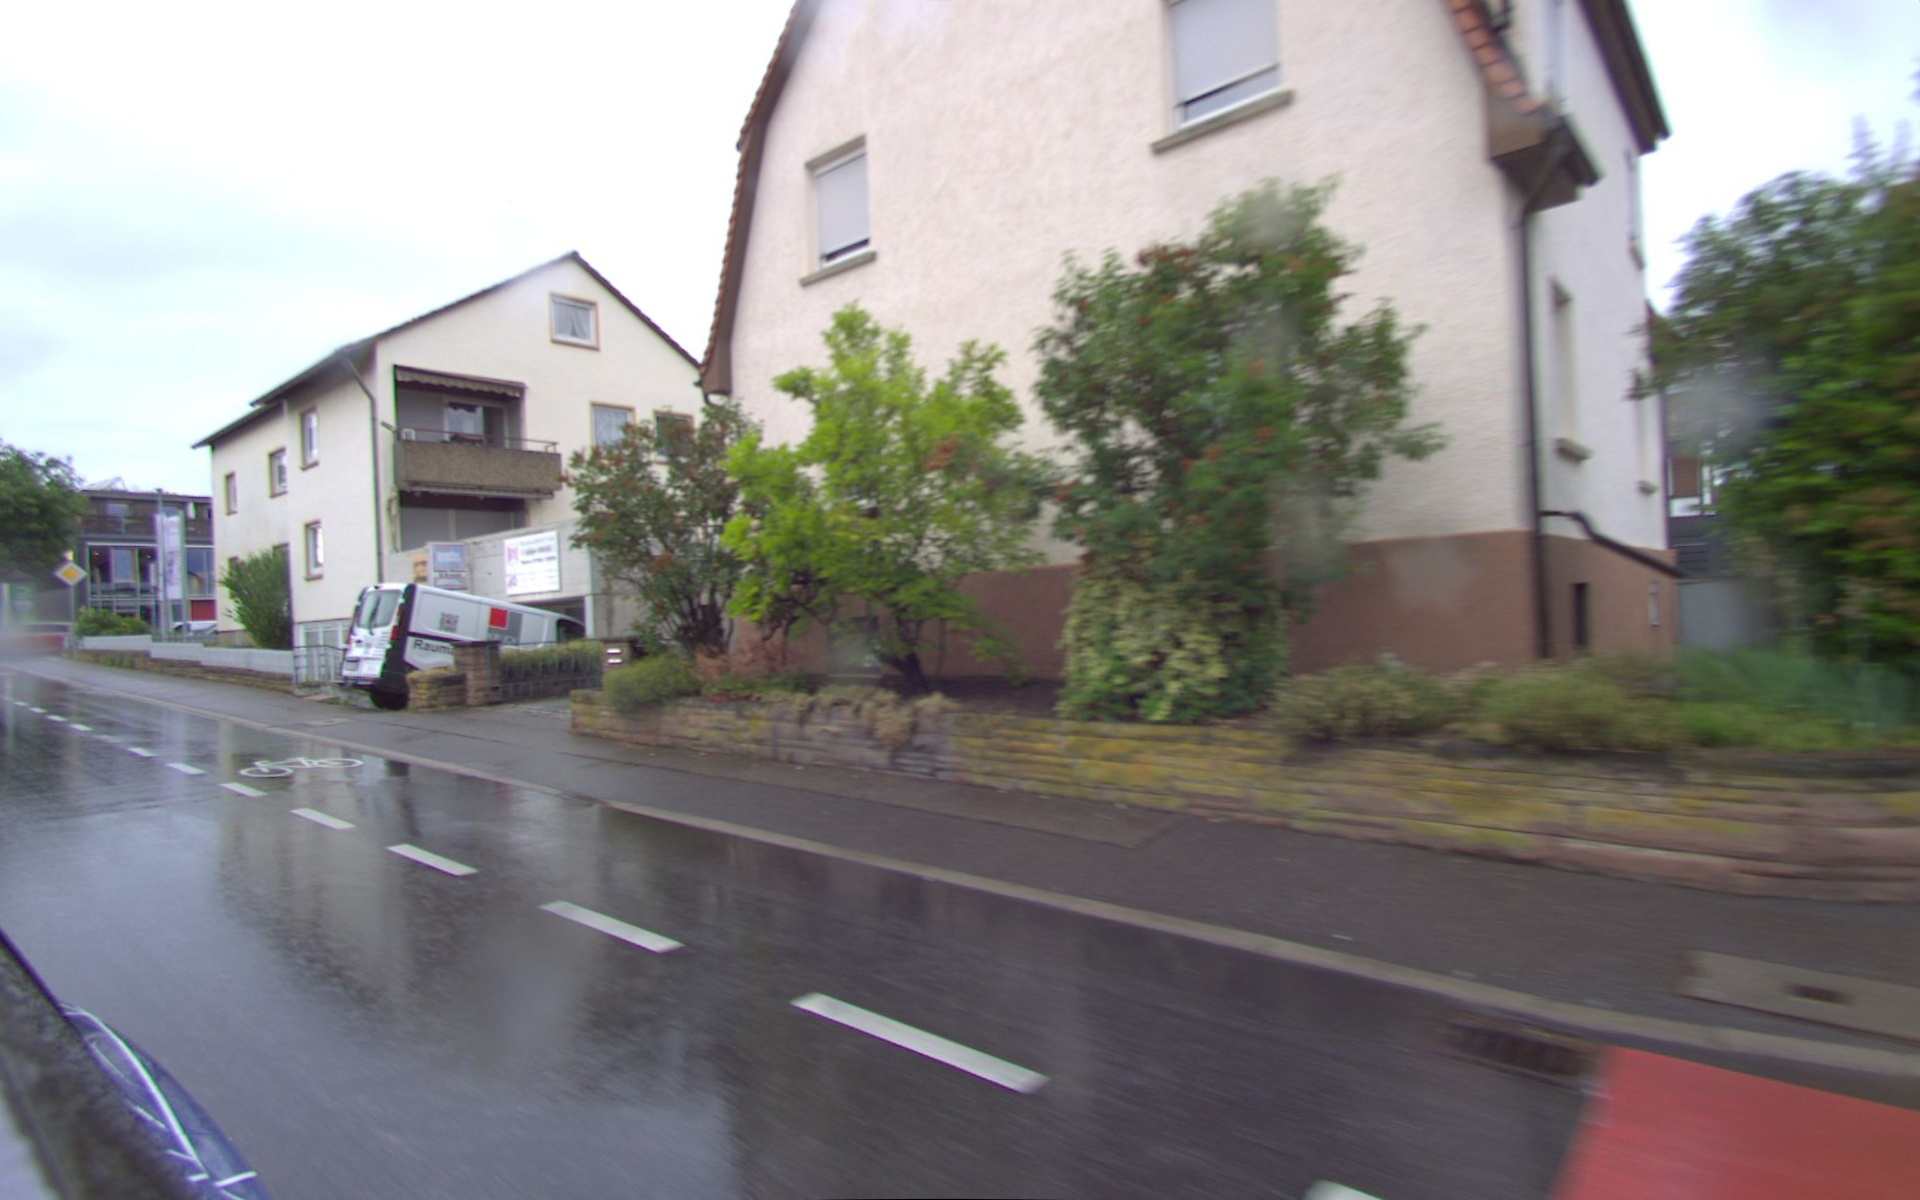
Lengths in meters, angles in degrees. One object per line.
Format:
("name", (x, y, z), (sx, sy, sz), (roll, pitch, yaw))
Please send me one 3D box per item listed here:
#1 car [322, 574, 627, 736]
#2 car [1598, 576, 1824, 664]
("car", (-7.966, 1.017, 16.955), (1.871, 1.989, 3.951), (-2, -13, 38))
("car", (14.284, 0.377, 19.345), (3.337, 1.530, 1.575), (-2, -1, 41))
